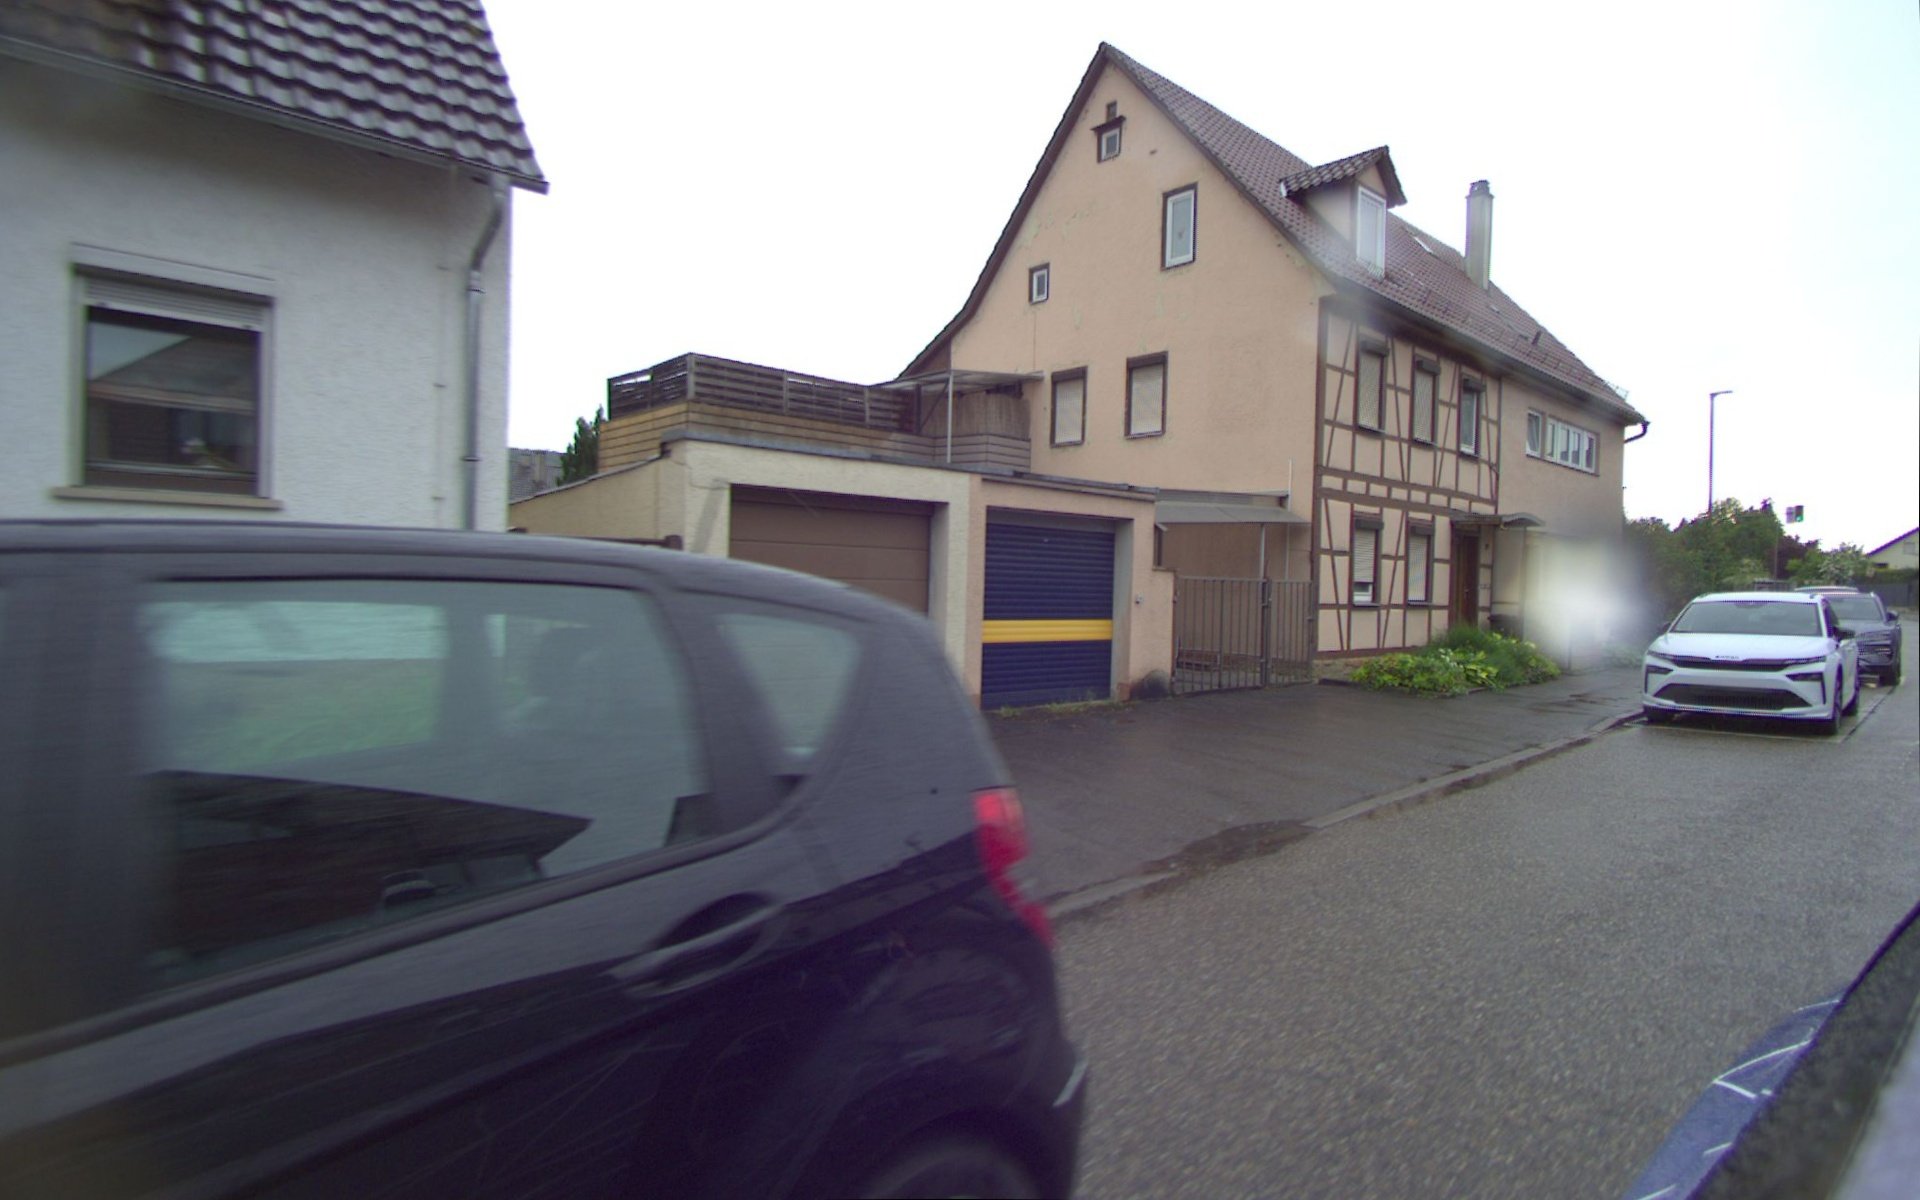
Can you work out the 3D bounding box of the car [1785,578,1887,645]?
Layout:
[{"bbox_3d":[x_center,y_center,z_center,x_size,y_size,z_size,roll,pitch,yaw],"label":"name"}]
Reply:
[{"bbox_3d":[27.364,0.302,31.746,1.924,1.926,4.733,-1,0,35],"label":"car"}]

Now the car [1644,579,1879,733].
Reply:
[{"bbox_3d":[10.313,0.553,12.885,4.536,1.615,1.804,-1,1,-45],"label":"car"}]

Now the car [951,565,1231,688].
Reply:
[{"bbox_3d":[1.803,0.277,14.928,1.775,1.475,3.925,0,3,-40],"label":"car"}]

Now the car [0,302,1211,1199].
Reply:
[{"bbox_3d":[-1.504,0.597,1.367,3.934,1.731,1.751,-1,2,-44],"label":"car"}]

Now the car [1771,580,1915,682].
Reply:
[{"bbox_3d":[17.189,0.523,19.628,1.908,1.739,4.484,-1,0,43],"label":"car"}]
